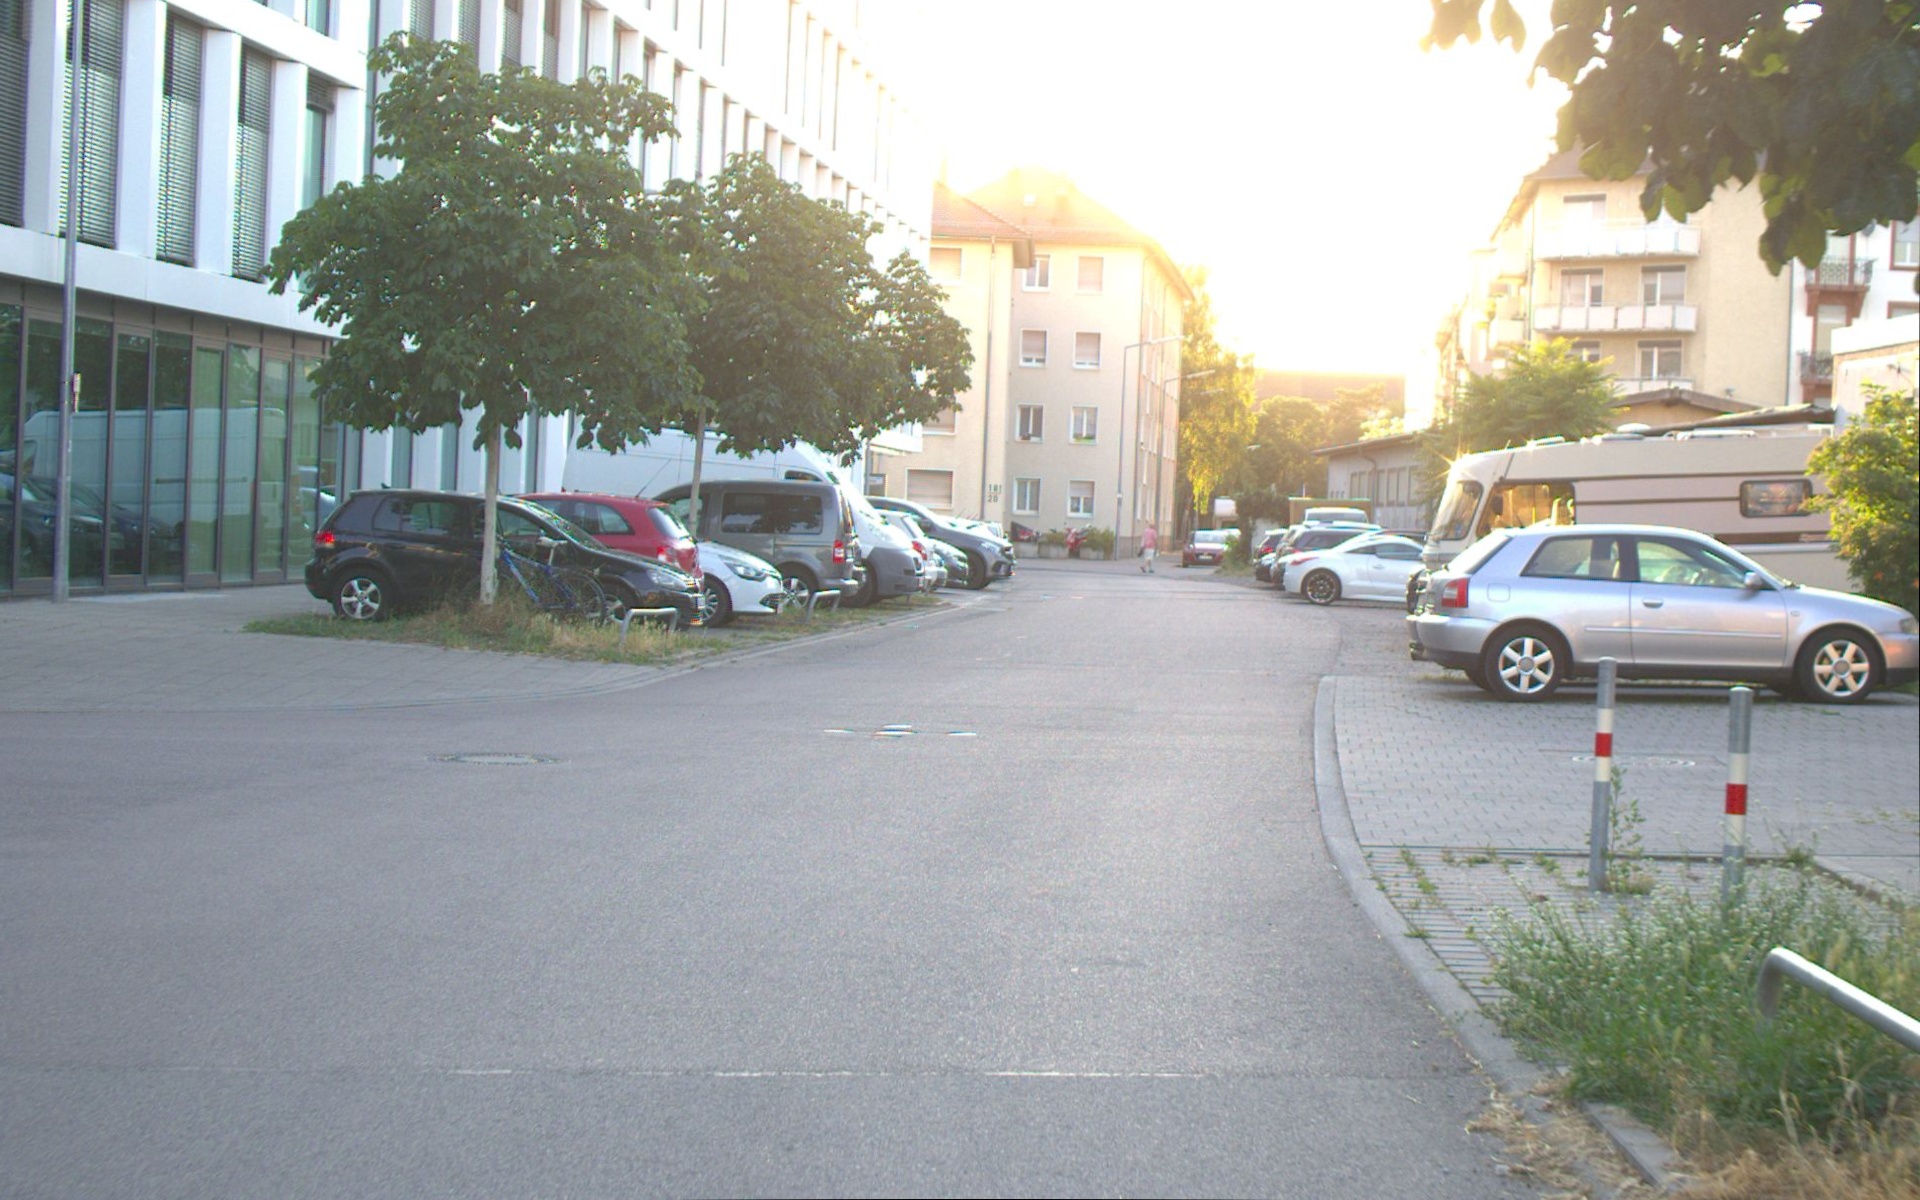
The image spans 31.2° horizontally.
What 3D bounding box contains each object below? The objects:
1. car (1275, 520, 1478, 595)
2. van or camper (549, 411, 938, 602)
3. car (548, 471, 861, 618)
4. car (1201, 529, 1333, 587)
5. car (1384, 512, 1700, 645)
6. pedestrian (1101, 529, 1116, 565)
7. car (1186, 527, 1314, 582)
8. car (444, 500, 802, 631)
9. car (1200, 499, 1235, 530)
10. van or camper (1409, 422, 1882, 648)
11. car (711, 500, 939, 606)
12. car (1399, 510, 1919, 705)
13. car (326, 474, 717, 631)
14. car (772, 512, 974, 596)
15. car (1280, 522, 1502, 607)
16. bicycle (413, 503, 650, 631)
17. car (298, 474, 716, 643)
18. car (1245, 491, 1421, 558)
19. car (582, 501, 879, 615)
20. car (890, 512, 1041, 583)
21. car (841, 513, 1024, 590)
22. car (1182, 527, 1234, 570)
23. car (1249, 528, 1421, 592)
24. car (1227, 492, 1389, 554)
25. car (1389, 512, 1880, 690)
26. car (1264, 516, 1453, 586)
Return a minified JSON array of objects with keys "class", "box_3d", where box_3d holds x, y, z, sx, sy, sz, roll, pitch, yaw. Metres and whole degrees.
[{"class":"car","box_3d":[8.758,-0.900,72.506,4.050,1.474,1.768,1,2,1]},{"class":"van or camper","box_3d":[-3.217,-1.416,51.562,5.453,2.475,1.775,4,2,6]},{"class":"car","box_3d":[-3.429,-0.768,46.548,4.050,1.901,1.736,1,2,2]},{"class":"car","box_3d":[9.112,-1.250,102.245,3.786,1.638,1.696,1,2,1]},{"class":"car","box_3d":[8.068,-0.315,47.892,3.986,1.681,1.764,2,1,-3]},{"class":"pedestrian","box_3d":[5.780,-2.064,133.909,0.501,1.374,0.454,2,1,3]},{"class":"car","box_3d":[9.104,-1.432,108.110,3.905,1.638,1.710,1,2,1]},{"class":"car","box_3d":[-4.053,-0.440,41.683,4.051,1.474,1.767,1,2,6]},{"class":"car","box_3d":[13.458,-4.453,179.576,1.742,1.520,3.551,2,1,4]},{"class":"van or camper","box_3d":[8.752,-0.872,44.378,5.610,2.780,2.430,1,2,2]},{"class":"car","box_3d":[-2.203,-0.791,56.472,3.560,1.646,1.458,1,2,6]},{"class":"car","box_3d":[5.761,0.037,28.344,4.050,1.474,1.768,1,2,1]},{"class":"car","box_3d":[-4.959,-0.551,39.166,4.051,1.474,1.767,4,1,6]},{"class":"car","box_3d":[-1.602,-0.860,63.648,3.560,1.474,1.458,1,2,6]},{"class":"car","box_3d":[8.057,-0.678,64.427,4.051,1.474,1.767,1,2,6]},{"class":"bicycle","box_3d":[-4.261,-0.335,34.258,2.179,1.170,0.811,2,1,5]},{"class":"car","box_3d":[-4.744,-0.465,36.340,4.050,1.474,1.768,4,3,3]},{"class":"car","box_3d":[9.589,-1.953,88.588,4.342,1.638,1.816,1,2,1]},{"class":"car","box_3d":[-3.237,-0.615,48.999,4.050,1.519,1.736,1,2,2]},{"class":"car","box_3d":[0.133,-1.116,72.092,3.015,1.416,1.458,1,2,6]},{"class":"car","box_3d":[-0.541,-0.997,69.698,3.560,1.474,1.458,1,2,6]},{"class":"car","box_3d":[9.770,-2.049,135.610,1.950,1.579,3.640,2,1,4]},{"class":"car","box_3d":[9.241,-0.996,84.905,4.050,1.474,1.768,1,2,1]},{"class":"car","box_3d":[9.684,-2.163,95.866,4.342,1.638,1.816,1,2,1]},{"class":"car","box_3d":[5.983,-0.014,30.843,4.050,1.474,1.768,1,2,1]},{"class":"car","box_3d":[8.960,-1.117,77.541,4.050,1.474,1.768,1,2,1]}]
